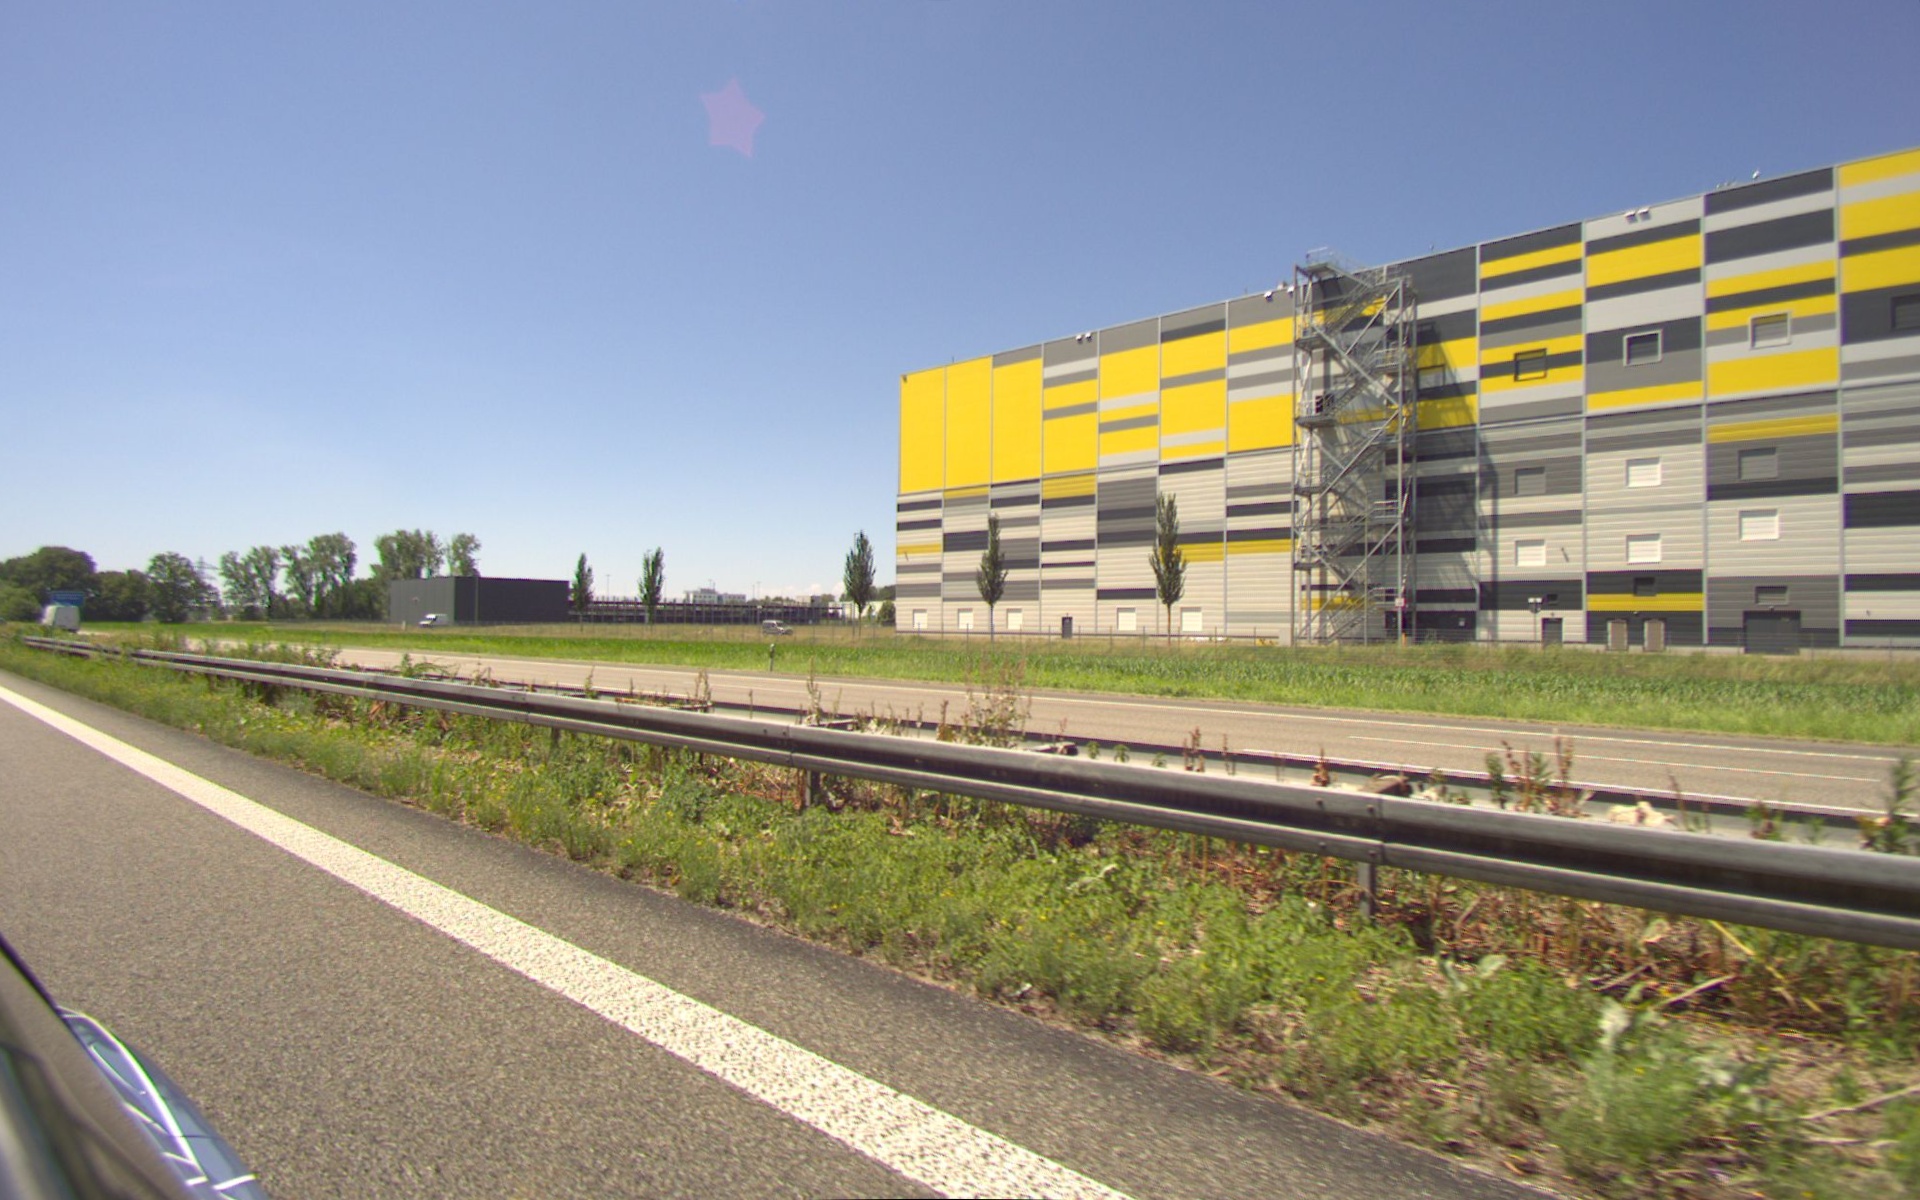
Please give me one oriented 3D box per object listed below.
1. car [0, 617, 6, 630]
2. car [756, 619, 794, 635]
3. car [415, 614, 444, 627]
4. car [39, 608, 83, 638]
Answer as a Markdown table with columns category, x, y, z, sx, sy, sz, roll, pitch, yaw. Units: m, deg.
| category | x | y | z | sx | sy | sz | roll | pitch | yaw |
| --- | --- | --- | --- | --- | --- | --- | --- | --- | --- |
| car | -125.765 | 3.045 | 131.597 | 4.908 | 1.759 | 1.993 | -1 | -3 | 41 |
| car | -20.180 | 2.945 | 110.355 | 4.267 | 1.750 | 1.808 | -1 | -3 | 41 |
| car | -95.691 | 3.623 | 182.475 | 6.078 | 2.265 | 2.527 | -1 | -3 | 41 |
| car | -82.230 | 2.100 | 92.513 | 7.931 | 2.574 | 2.046 | -1 | -3 | 42 |
